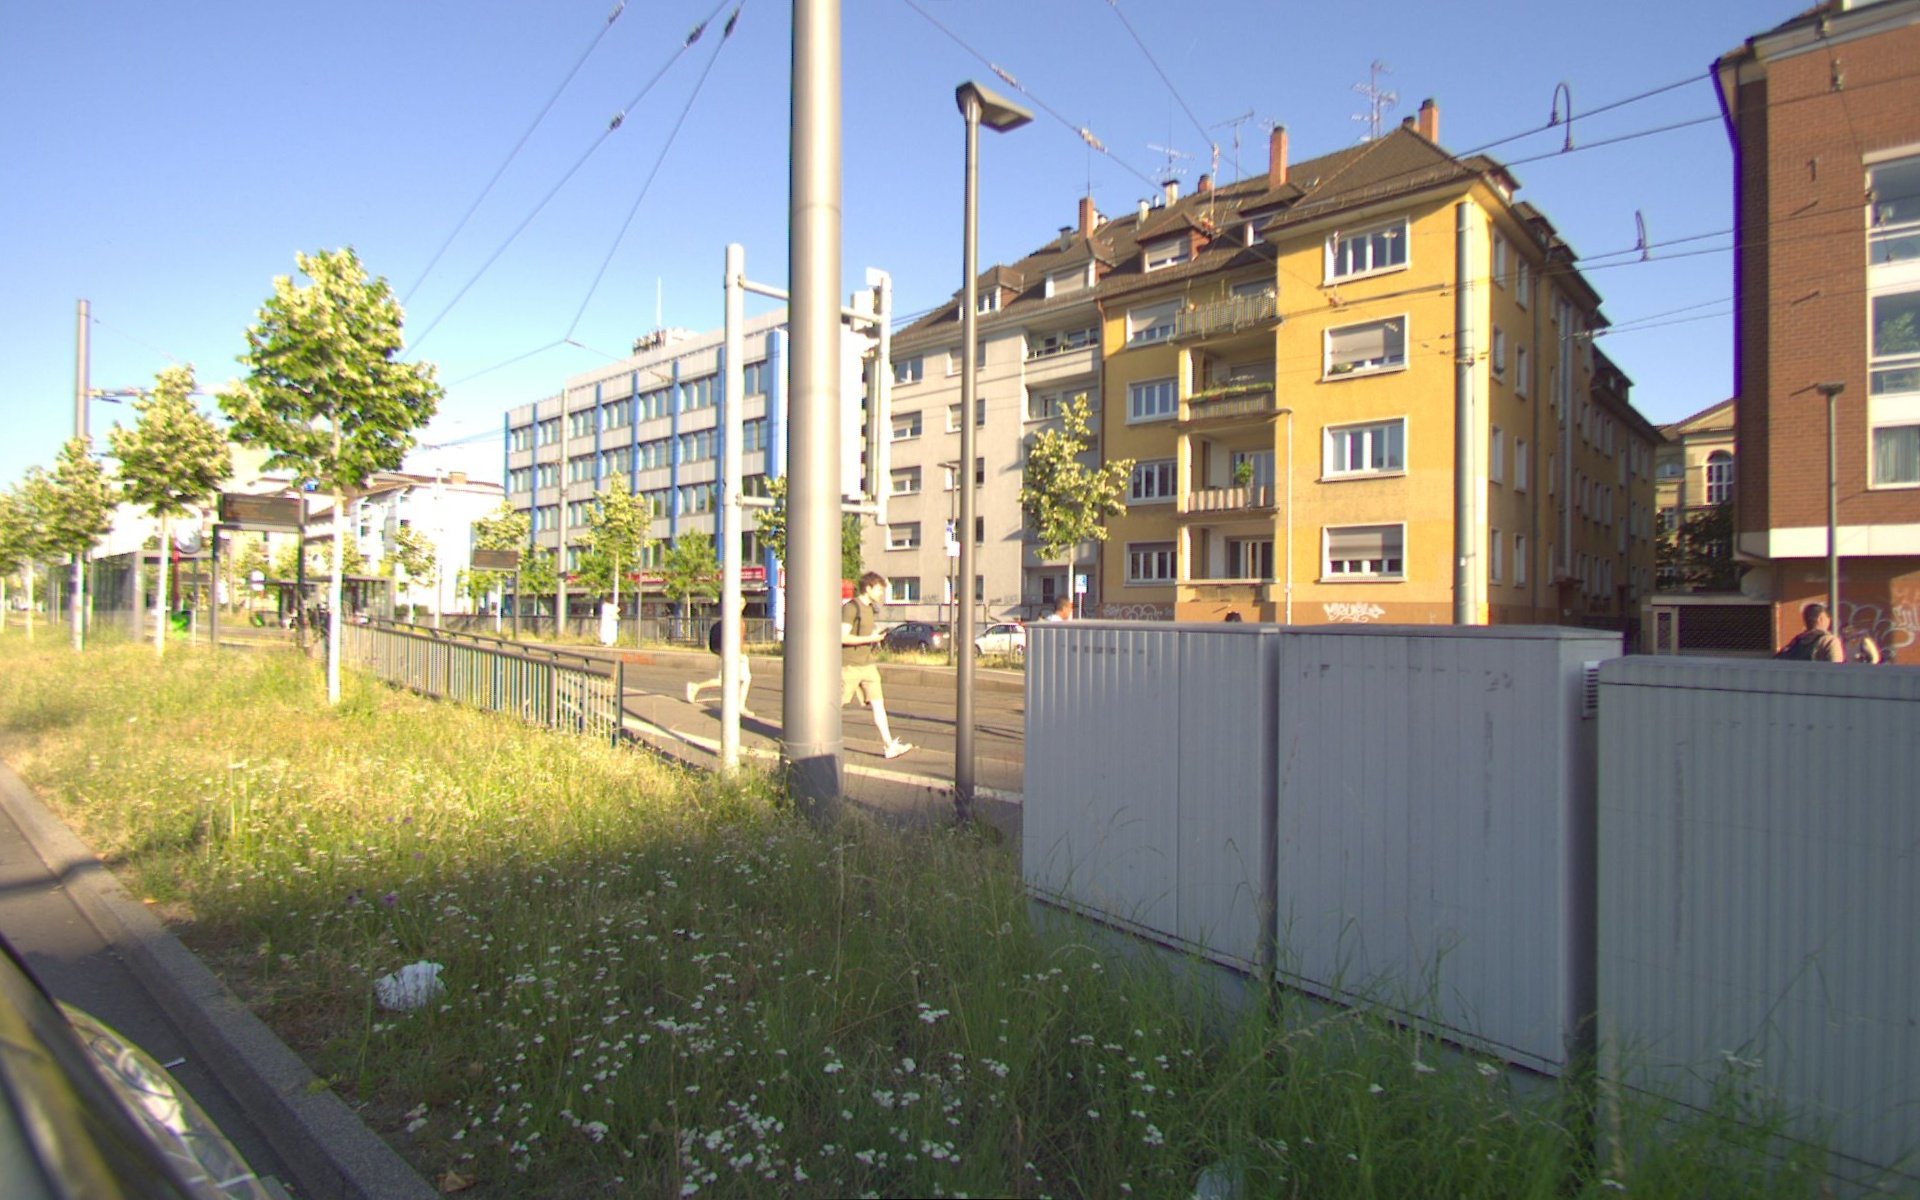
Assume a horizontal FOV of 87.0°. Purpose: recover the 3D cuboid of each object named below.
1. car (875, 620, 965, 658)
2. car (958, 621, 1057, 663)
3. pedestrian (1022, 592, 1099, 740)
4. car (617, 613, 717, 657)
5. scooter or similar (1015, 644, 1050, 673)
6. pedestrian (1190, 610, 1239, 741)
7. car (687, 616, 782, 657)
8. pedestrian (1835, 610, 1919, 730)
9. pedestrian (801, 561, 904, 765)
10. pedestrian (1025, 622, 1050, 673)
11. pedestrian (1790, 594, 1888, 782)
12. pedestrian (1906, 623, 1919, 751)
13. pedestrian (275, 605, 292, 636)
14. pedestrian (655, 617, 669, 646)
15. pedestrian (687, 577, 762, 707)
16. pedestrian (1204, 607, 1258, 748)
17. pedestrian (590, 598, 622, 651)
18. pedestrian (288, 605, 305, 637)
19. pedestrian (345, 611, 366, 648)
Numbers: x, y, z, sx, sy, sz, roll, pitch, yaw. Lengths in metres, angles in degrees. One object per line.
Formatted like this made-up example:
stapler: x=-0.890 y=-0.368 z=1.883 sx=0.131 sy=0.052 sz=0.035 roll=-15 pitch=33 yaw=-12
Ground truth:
car: x=-1.791 y=1.665 z=44.205 sx=3.673 sy=1.519 sz=1.861 roll=0 pitch=0 yaw=41
car: x=1.895 y=1.657 z=41.034 sx=3.673 sy=1.519 sz=1.861 roll=0 pitch=0 yaw=41
pedestrian: x=1.118 y=0.717 z=11.183 sx=0.616 sy=1.560 sz=0.781 roll=-2 pitch=-3 yaw=25
car: x=-11.282 y=1.310 z=38.873 sx=3.941 sy=1.519 sz=1.861 roll=0 pitch=0 yaw=41
scooter or similar: x=2.672 y=2.155 z=37.395 sx=0.480 sy=1.013 sz=1.331 roll=-1 pitch=0 yaw=-42
pedestrian: x=2.936 y=0.844 z=11.658 sx=0.520 sy=1.442 sz=0.635 roll=0 pitch=0 yaw=16
car: x=-9.280 y=1.442 z=41.463 sx=3.941 sy=1.519 sz=1.861 roll=0 pitch=0 yaw=41
pedestrian: x=12.909 y=0.946 z=14.120 sx=0.672 sy=1.596 sz=0.844 roll=-1 pitch=0 yaw=-22
pedestrian: x=-1.042 y=0.576 z=9.830 sx=0.620 sy=1.878 sz=0.776 roll=0 pitch=0 yaw=44
pedestrian: x=2.853 y=1.738 z=37.351 sx=0.553 sy=1.861 sz=0.724 roll=-1 pitch=0 yaw=-42
pedestrian: x=7.685 y=0.728 z=8.848 sx=0.619 sy=1.547 sz=0.777 roll=0 pitch=0 yaw=43
pedestrian: x=10.685 y=0.923 z=10.798 sx=0.598 sy=1.370 sz=0.598 roll=-4 pitch=1 yaw=-22
pedestrian: x=-37.595 y=1.121 z=56.215 sx=0.772 sy=1.705 sz=0.651 roll=0 pitch=0 yaw=44
pedestrian: x=-18.420 y=1.928 z=62.558 sx=0.636 sy=1.759 sz=0.599 roll=-1 pitch=0 yaw=-42
pedestrian: x=-3.201 y=0.549 z=13.783 sx=0.620 sy=1.711 sz=0.776 roll=0 pitch=0 yaw=44
pedestrian: x=2.942 y=0.810 z=10.971 sx=0.520 sy=1.467 sz=0.634 roll=0 pitch=0 yaw=19
pedestrian: x=-11.440 y=0.780 z=32.699 sx=0.620 sy=1.685 sz=0.776 roll=0 pitch=0 yaw=44
pedestrian: x=-35.867 y=1.117 z=54.685 sx=0.650 sy=1.705 sz=0.773 roll=-1 pitch=0 yaw=-43
pedestrian: x=-28.601 y=1.381 z=47.890 sx=0.771 sy=1.705 sz=0.651 roll=0 pitch=0 yaw=40
